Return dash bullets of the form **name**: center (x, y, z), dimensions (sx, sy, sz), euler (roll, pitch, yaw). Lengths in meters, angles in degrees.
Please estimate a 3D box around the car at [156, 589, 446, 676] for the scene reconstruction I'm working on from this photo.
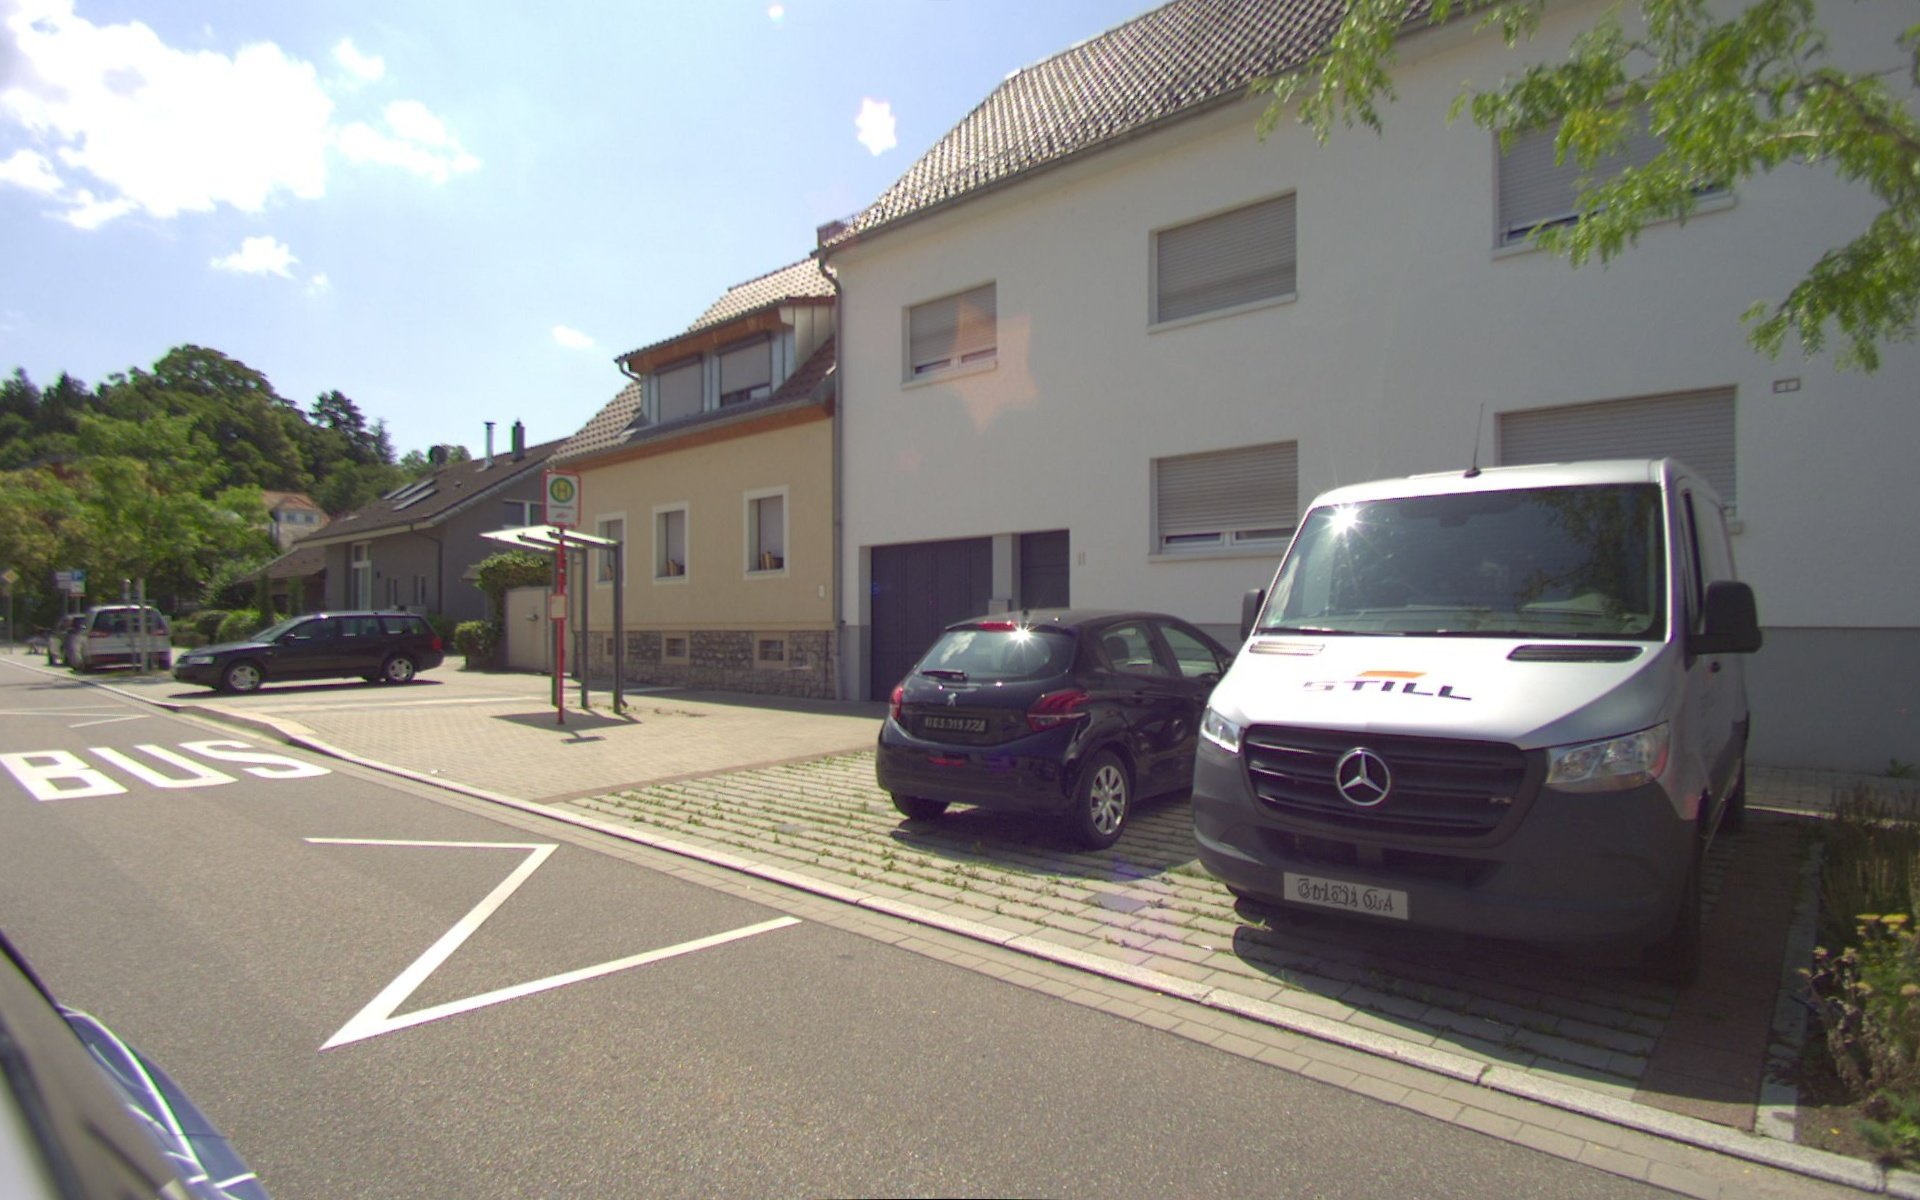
- **car**: center (-13.016, 0.566, 20.221), dimensions (1.901, 1.528, 4.538), euler (-1, 0, 42)

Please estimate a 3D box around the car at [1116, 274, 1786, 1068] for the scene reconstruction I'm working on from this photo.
- **car**: center (3.142, 0.163, 5.603), dimensions (2.156, 2.305, 5.114), euler (-1, 1, 40)

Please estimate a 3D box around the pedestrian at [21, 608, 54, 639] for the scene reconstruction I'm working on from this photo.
- **pedestrian**: center (-36.356, 0.919, 39.876), dimensions (0.884, 1.150, 0.806), euler (0, 1, 38)

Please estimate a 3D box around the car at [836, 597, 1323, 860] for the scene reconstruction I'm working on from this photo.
- **car**: center (1.141, 0.719, 7.774), dimensions (1.900, 1.456, 3.947), euler (-1, 0, 39)

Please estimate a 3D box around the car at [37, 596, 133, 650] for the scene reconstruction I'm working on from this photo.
- **car**: center (-27.145, 0.705, 31.361), dimensions (3.907, 1.536, 1.705), euler (-2, 0, 41)

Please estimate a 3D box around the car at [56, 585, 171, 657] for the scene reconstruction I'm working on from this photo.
- **car**: center (-22.767, 0.561, 27.160), dimensions (4.687, 1.761, 1.819), euler (-2, 0, 44)
